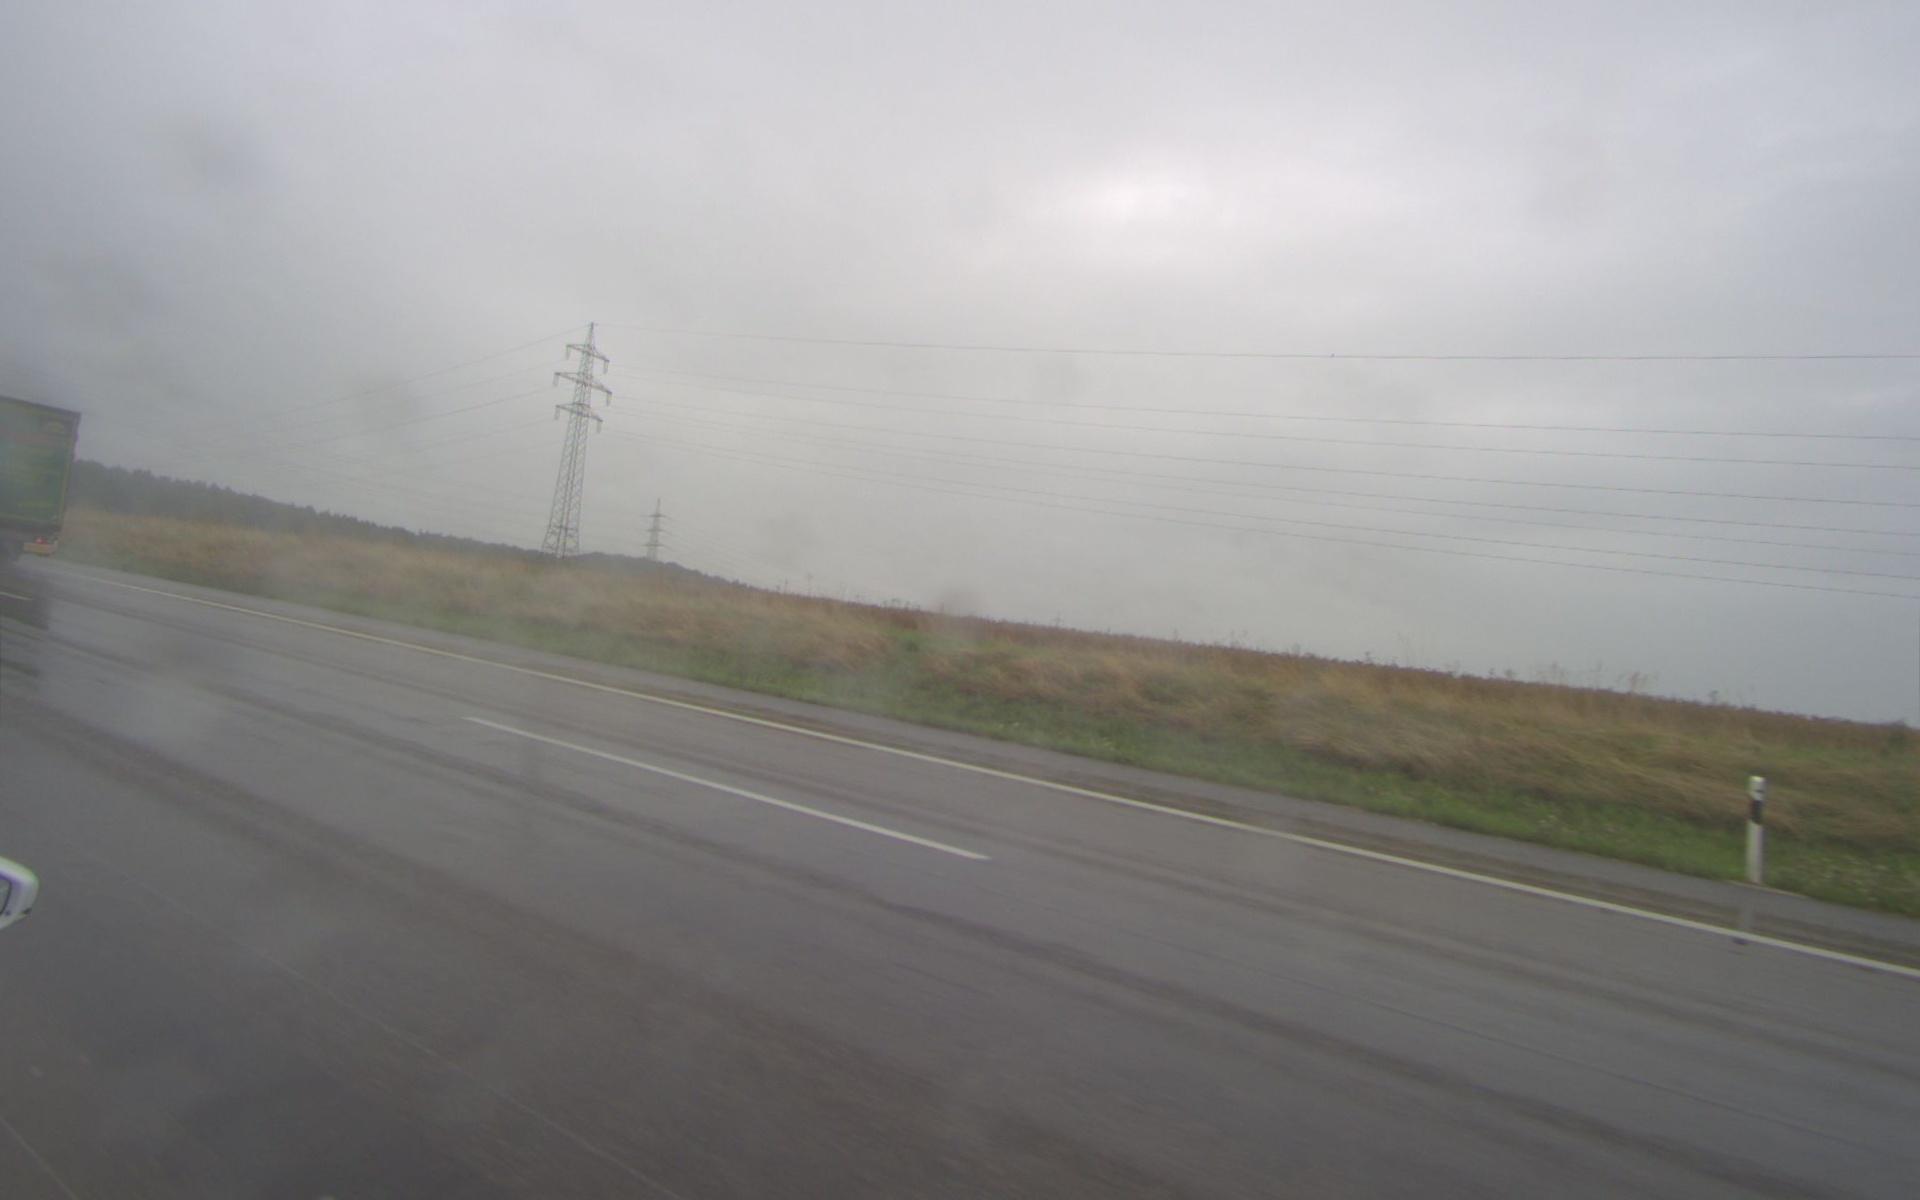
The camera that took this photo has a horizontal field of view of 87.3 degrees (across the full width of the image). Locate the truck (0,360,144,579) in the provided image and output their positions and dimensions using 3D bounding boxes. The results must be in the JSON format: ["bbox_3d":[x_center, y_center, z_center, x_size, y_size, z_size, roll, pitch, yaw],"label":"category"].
[{"bbox_3d":[-28.398,-3.841,27.565,15.840,4.684,4.196,7,-1,32],"label":"truck"}]
